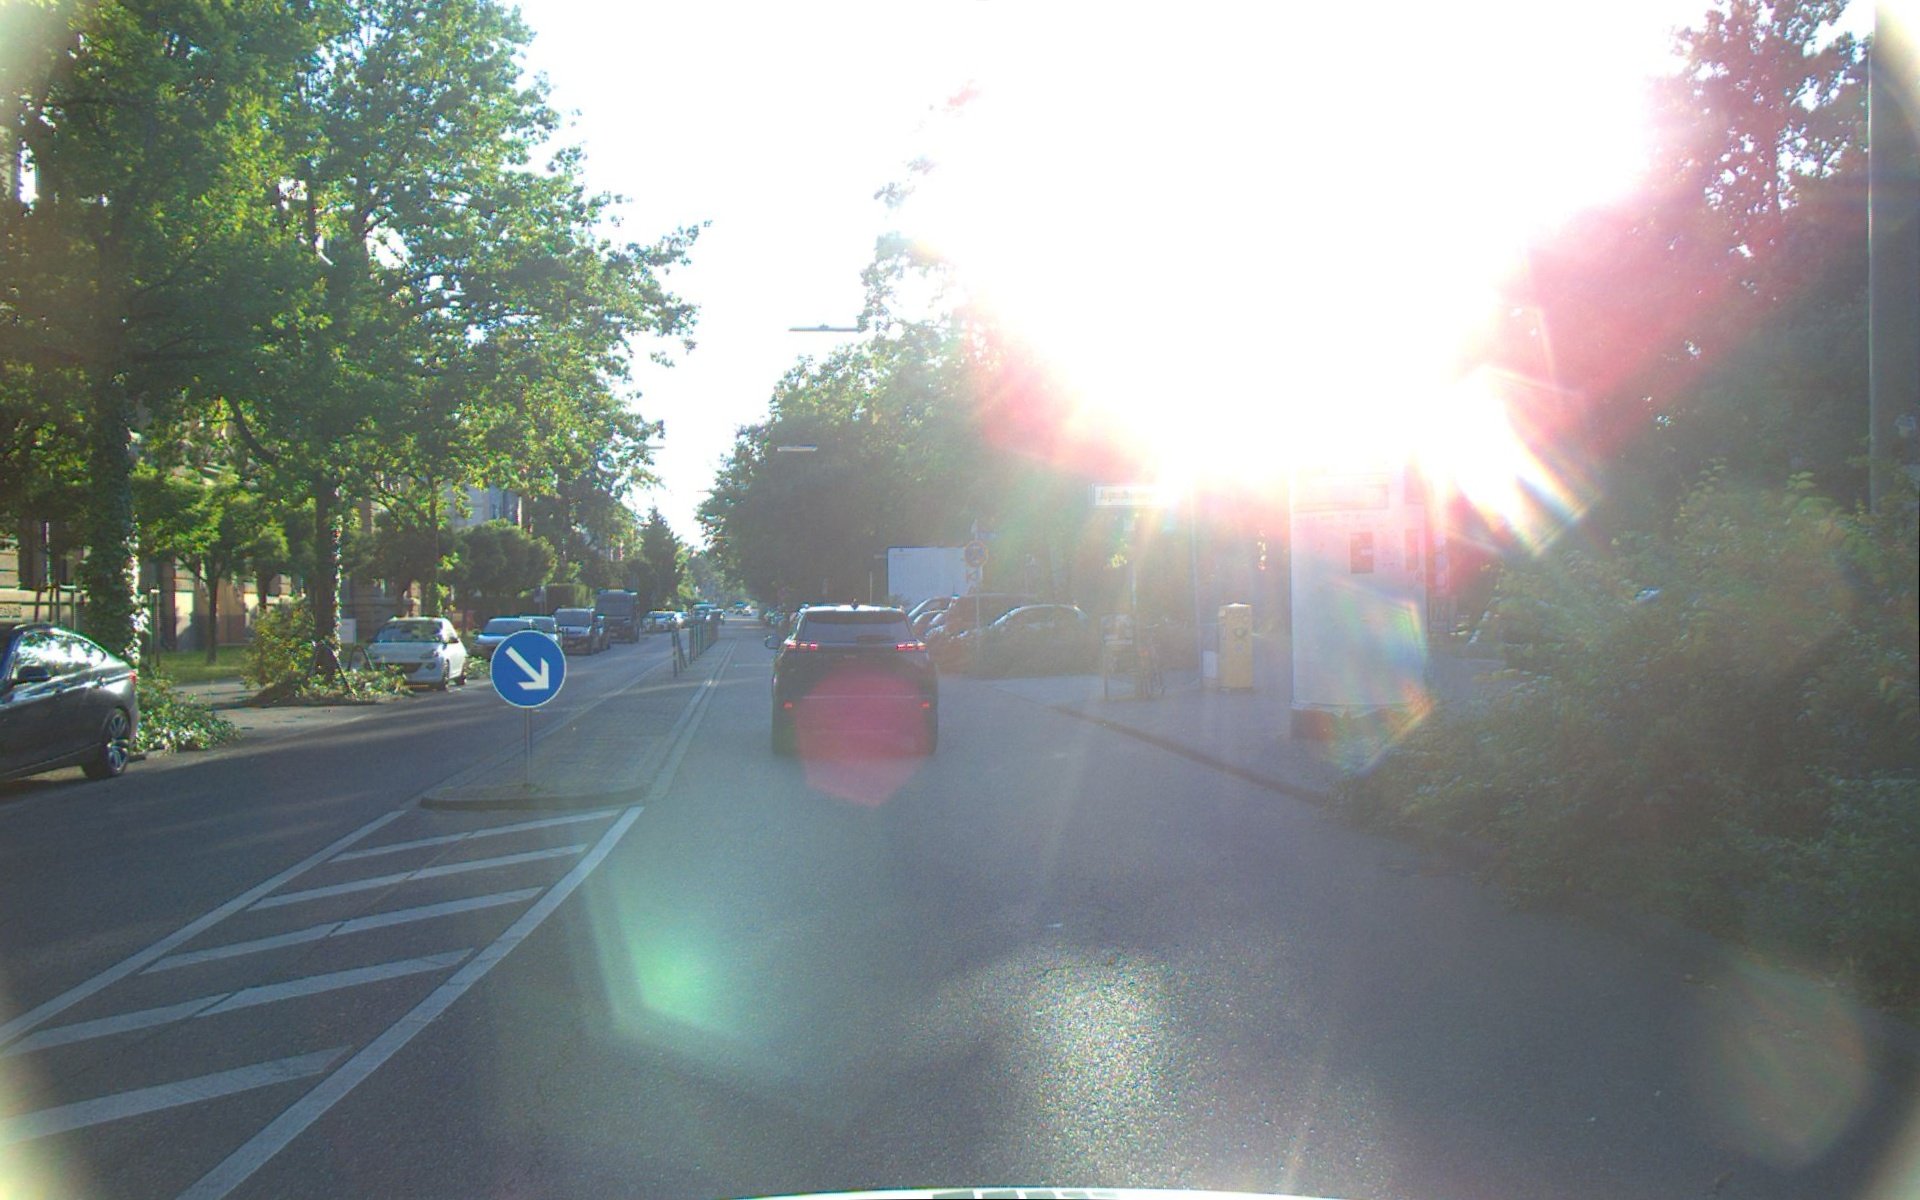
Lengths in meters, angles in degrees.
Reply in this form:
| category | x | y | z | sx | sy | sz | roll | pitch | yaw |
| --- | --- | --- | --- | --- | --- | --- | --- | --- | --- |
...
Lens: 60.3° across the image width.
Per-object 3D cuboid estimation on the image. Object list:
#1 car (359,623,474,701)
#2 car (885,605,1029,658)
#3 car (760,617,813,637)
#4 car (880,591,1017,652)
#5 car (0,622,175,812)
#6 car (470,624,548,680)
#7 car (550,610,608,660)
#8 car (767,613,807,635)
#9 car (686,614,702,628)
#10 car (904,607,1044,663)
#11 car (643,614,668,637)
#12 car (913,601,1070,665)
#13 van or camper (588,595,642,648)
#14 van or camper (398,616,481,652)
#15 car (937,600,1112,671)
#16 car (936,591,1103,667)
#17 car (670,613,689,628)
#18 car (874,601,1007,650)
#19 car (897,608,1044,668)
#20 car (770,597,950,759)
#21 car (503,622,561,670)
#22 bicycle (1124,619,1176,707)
| category | x | y | z | sx | sy | sz | roll | pitch | yaw |
| --- | --- | --- | --- | --- | --- | --- | --- | --- | --- |
| car | -11.421 | 1.258 | 34.969 | 1.587 | 1.522 | 3.917 | 0 | -1 | -8 |
| car | -0.126 | 1.089 | 58.531 | 4.835 | 1.581 | 1.912 | -3 | 0 | -9 |
| car | -14.276 | 2.248 | 136.181 | 4.166 | 1.474 | 2.016 | -2 | -1 | -10 |
| car | -0.464 | 0.786 | 60.990 | 4.762 | 1.949 | 1.912 | -3 | 0 | -9 |
| car | -8.795 | 0.969 | 14.702 | 1.768 | 1.537 | 4.855 | 0 | -1 | -6 |
| car | -12.978 | 1.469 | 47.790 | 1.587 | 1.522 | 4.369 | 0 | -1 | -8 |
| car | -14.959 | 1.354 | 65.182 | 1.743 | 1.899 | 4.325 | 2 | -1 | -7 |
| car | -17.534 | 2.455 | 167.797 | 3.918 | 2.126 | 1.752 | 0 | -1 | -13 |
| car | -33.097 | 2.617 | 206.173 | 1.864 | 1.601 | 3.992 | -1 | -1 | -8 |
| car | 0.426 | 1.134 | 53.940 | 4.282 | 1.564 | 1.917 | -3 | 0 | -9 |
| car | -22.013 | 1.837 | 119.679 | 1.584 | 1.541 | 3.703 | -3 | -1 | -9 |
| car | 0.885 | 0.938 | 48.172 | 4.282 | 1.581 | 1.872 | -3 | 0 | -9 |
| van or camper | -17.530 | 1.097 | 84.376 | 2.188 | 2.589 | 7.066 | 1 | -1 | -8 |
| van or camper | -32.957 | 2.138 | 104.851 | 4.676 | 2.020 | 1.999 | -1 | 4 | -6 |
| car | 1.667 | 0.913 | 43.264 | 4.282 | 1.581 | 1.724 | -3 | 0 | -9 |
| car | 1.605 | 0.783 | 45.525 | 4.282 | 1.811 | 1.917 | -3 | 0 | -9 |
| car | -27.478 | 1.996 | 162.323 | 1.720 | 1.438 | 3.756 | -3 | 0 | -9 |
| car | -0.779 | 0.961 | 63.512 | 4.835 | 1.581 | 1.912 | -3 | 0 | -9 |
| car | 0.303 | 1.167 | 51.293 | 4.282 | 1.564 | 1.917 | -3 | 0 | -9 |
| car | -1.223 | 0.785 | 18.488 | 1.738 | 1.596 | 4.102 | 0 | 0 | -7 |
| car | -14.134 | 1.493 | 54.777 | 1.689 | 1.522 | 4.363 | 0 | -1 | -12 |
| bicycle | 2.882 | 0.916 | 24.921 | 0.482 | 1.168 | 2.287 | -4 | 0 | 12 |
